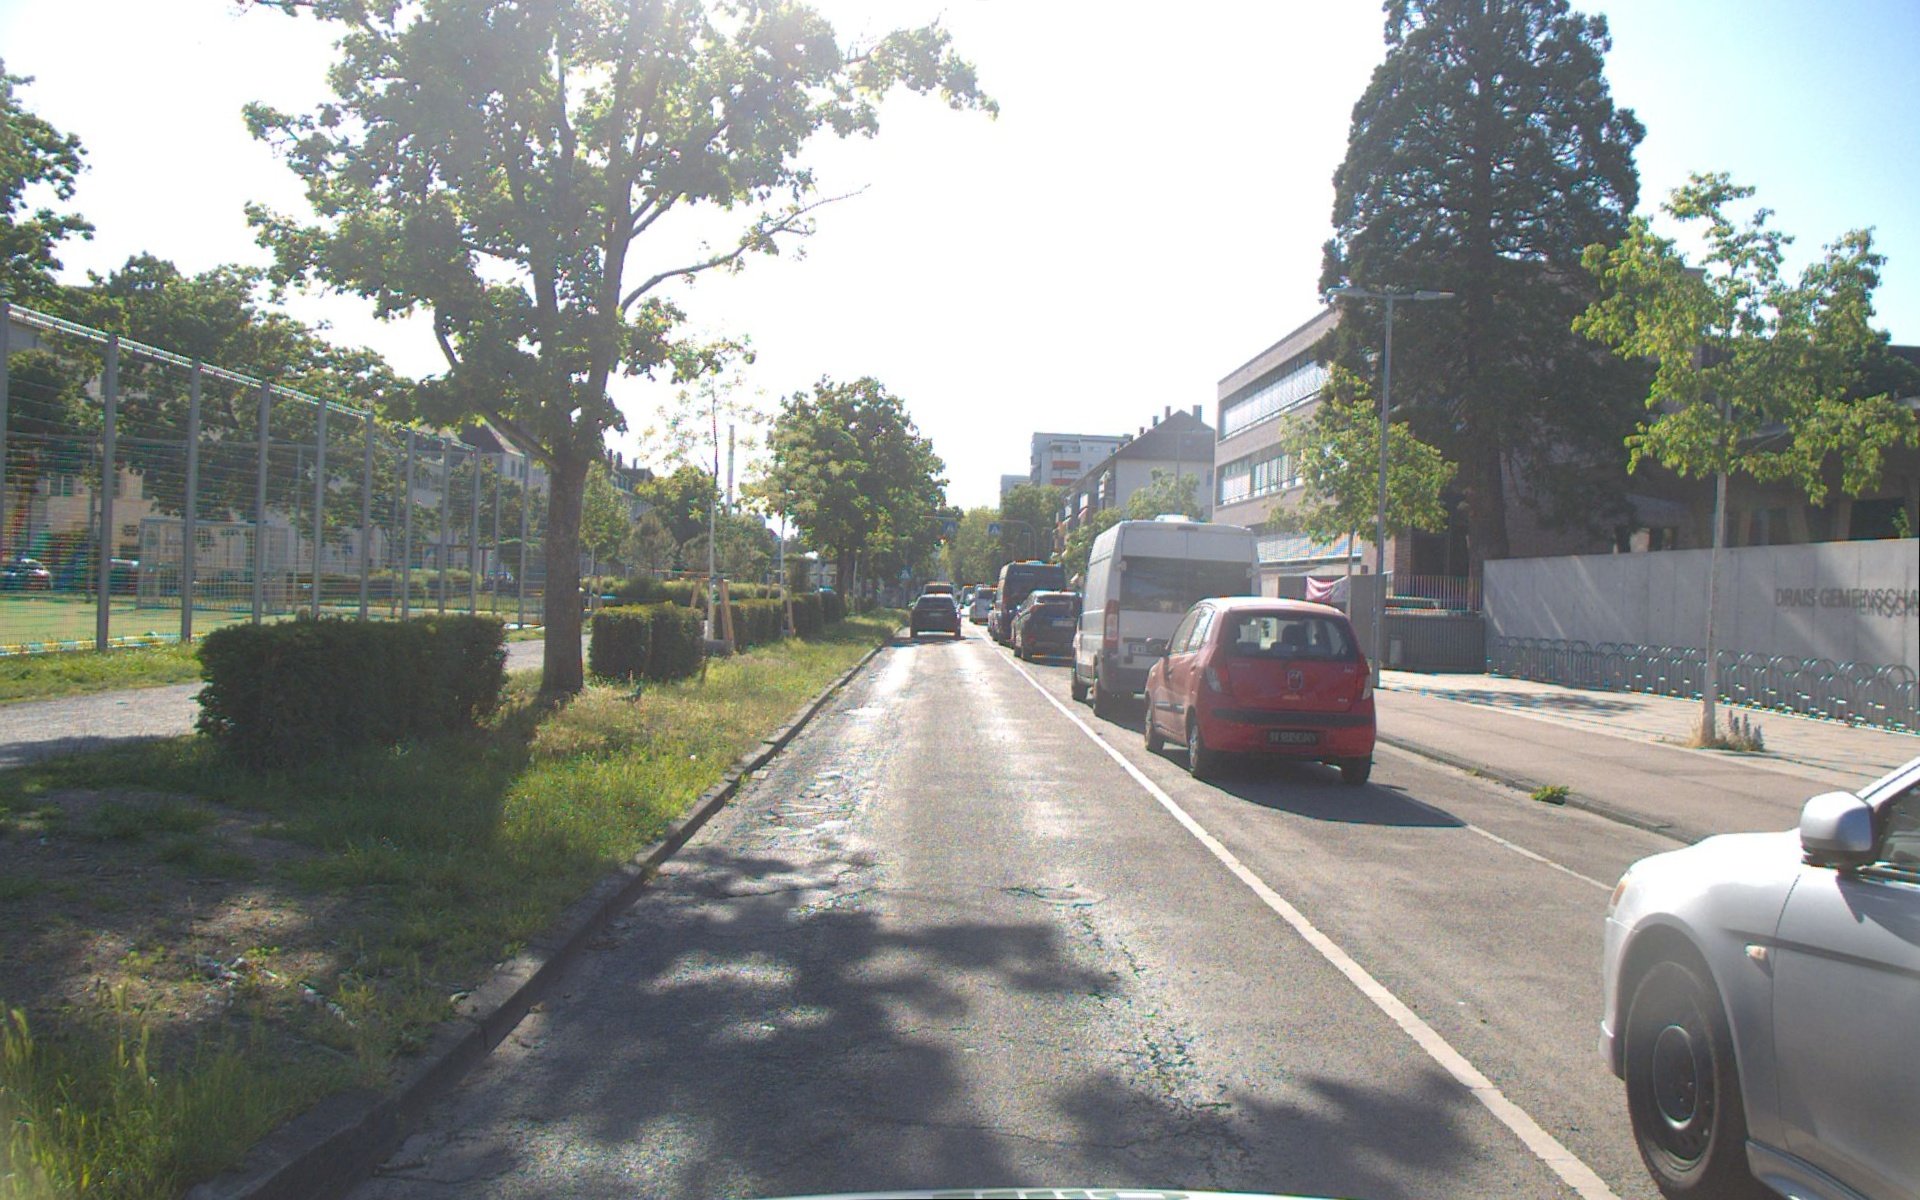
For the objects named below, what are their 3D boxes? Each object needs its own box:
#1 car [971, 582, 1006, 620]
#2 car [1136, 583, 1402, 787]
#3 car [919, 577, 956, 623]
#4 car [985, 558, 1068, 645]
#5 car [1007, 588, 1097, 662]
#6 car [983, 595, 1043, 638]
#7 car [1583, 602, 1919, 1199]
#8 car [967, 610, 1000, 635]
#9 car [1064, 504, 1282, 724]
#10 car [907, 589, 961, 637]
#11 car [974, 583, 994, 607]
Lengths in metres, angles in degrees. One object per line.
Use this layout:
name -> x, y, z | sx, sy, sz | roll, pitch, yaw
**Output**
car -> 1.503, 0.045, 86.546 | 1.757, 1.887, 4.414 | 2, 0, 1
car -> 2.732, 0.683, 15.376 | 1.587, 1.616, 3.590 | 2, 0, -3
car -> -1.108, -0.015, 83.171 | 1.758, 2.159, 4.000 | 2, 0, -1
car -> 2.046, 0.020, 53.026 | 2.073, 2.559, 6.529 | 2, 0, -2
car -> 2.198, 0.577, 40.711 | 1.809, 1.669, 4.502 | 2, 0, -2
car -> 1.855, 0.569, 59.476 | 1.953, 1.445, 4.635 | 2, 0, 0
car -> 2.760, 0.805, 2.901 | 1.667, 1.504, 4.173 | 3, 0, -1
car -> 1.290, 1.257, 93.288 | 1.729, 1.342, 4.167 | 3, 0, 0
car -> 2.794, 0.167, 23.094 | 2.195, 2.619, 5.431 | 2, 0, -1
car -> -0.891, 0.426, 57.939 | 1.758, 1.536, 4.000 | 2, 0, -1
car -> 2.648, -0.565, 184.839 | 1.953, 2.472, 4.500 | 4, 0, -1
